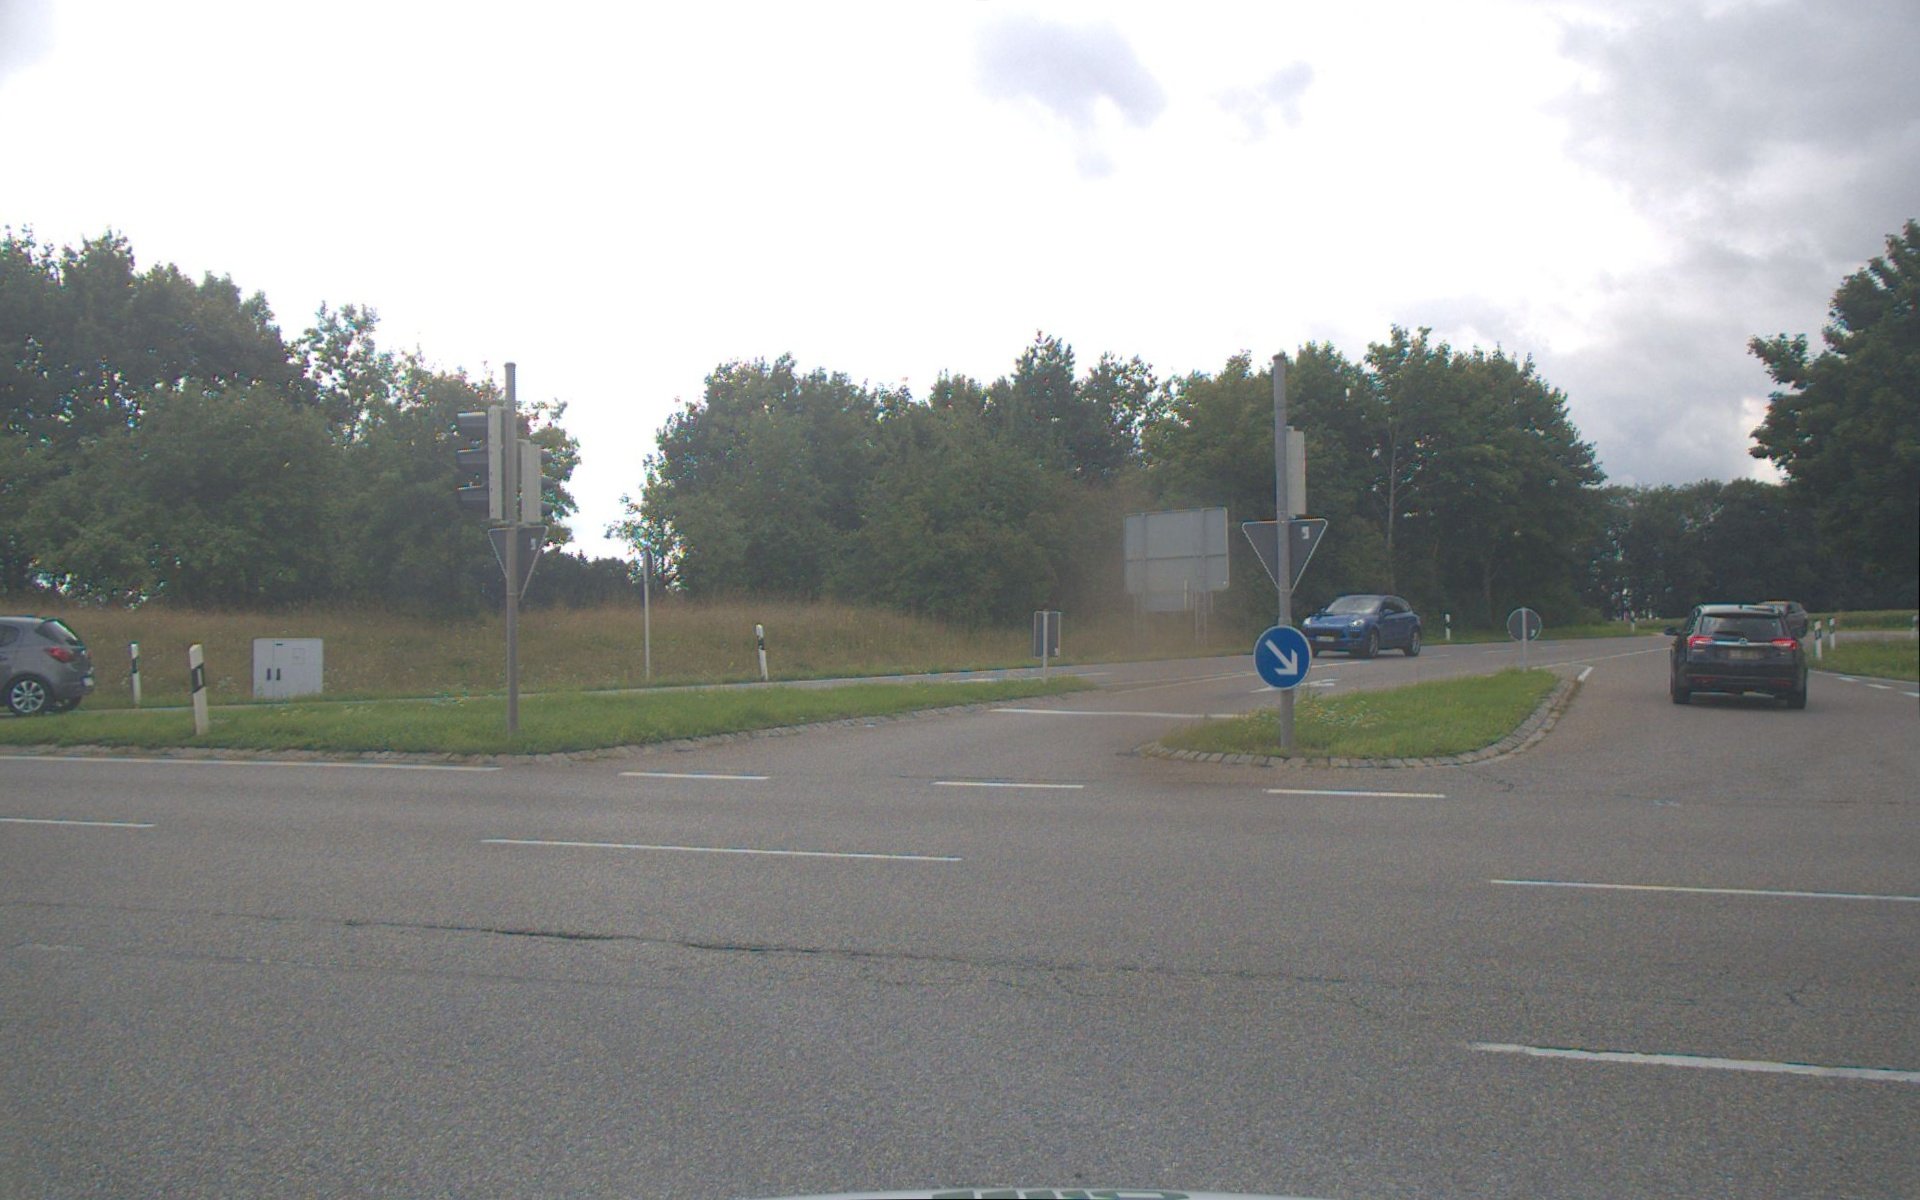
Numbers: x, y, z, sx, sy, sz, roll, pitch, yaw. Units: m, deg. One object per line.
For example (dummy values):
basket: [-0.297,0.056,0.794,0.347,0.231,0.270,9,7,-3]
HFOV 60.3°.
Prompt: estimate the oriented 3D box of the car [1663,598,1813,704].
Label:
car: [11.844,0.757,25.393,1.770,1.476,4.272,-1,-1,21]

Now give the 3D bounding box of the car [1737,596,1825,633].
car: [34.952,0.614,70.338,4.632,1.529,1.967,0,-1,-45]

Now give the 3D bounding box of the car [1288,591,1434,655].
car: [10.636,0.582,43.631,1.962,1.598,4.734,-1,-1,38]

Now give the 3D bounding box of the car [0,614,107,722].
car: [-15.137,1.005,24.667,3.921,1.562,1.992,0,-1,-15]
